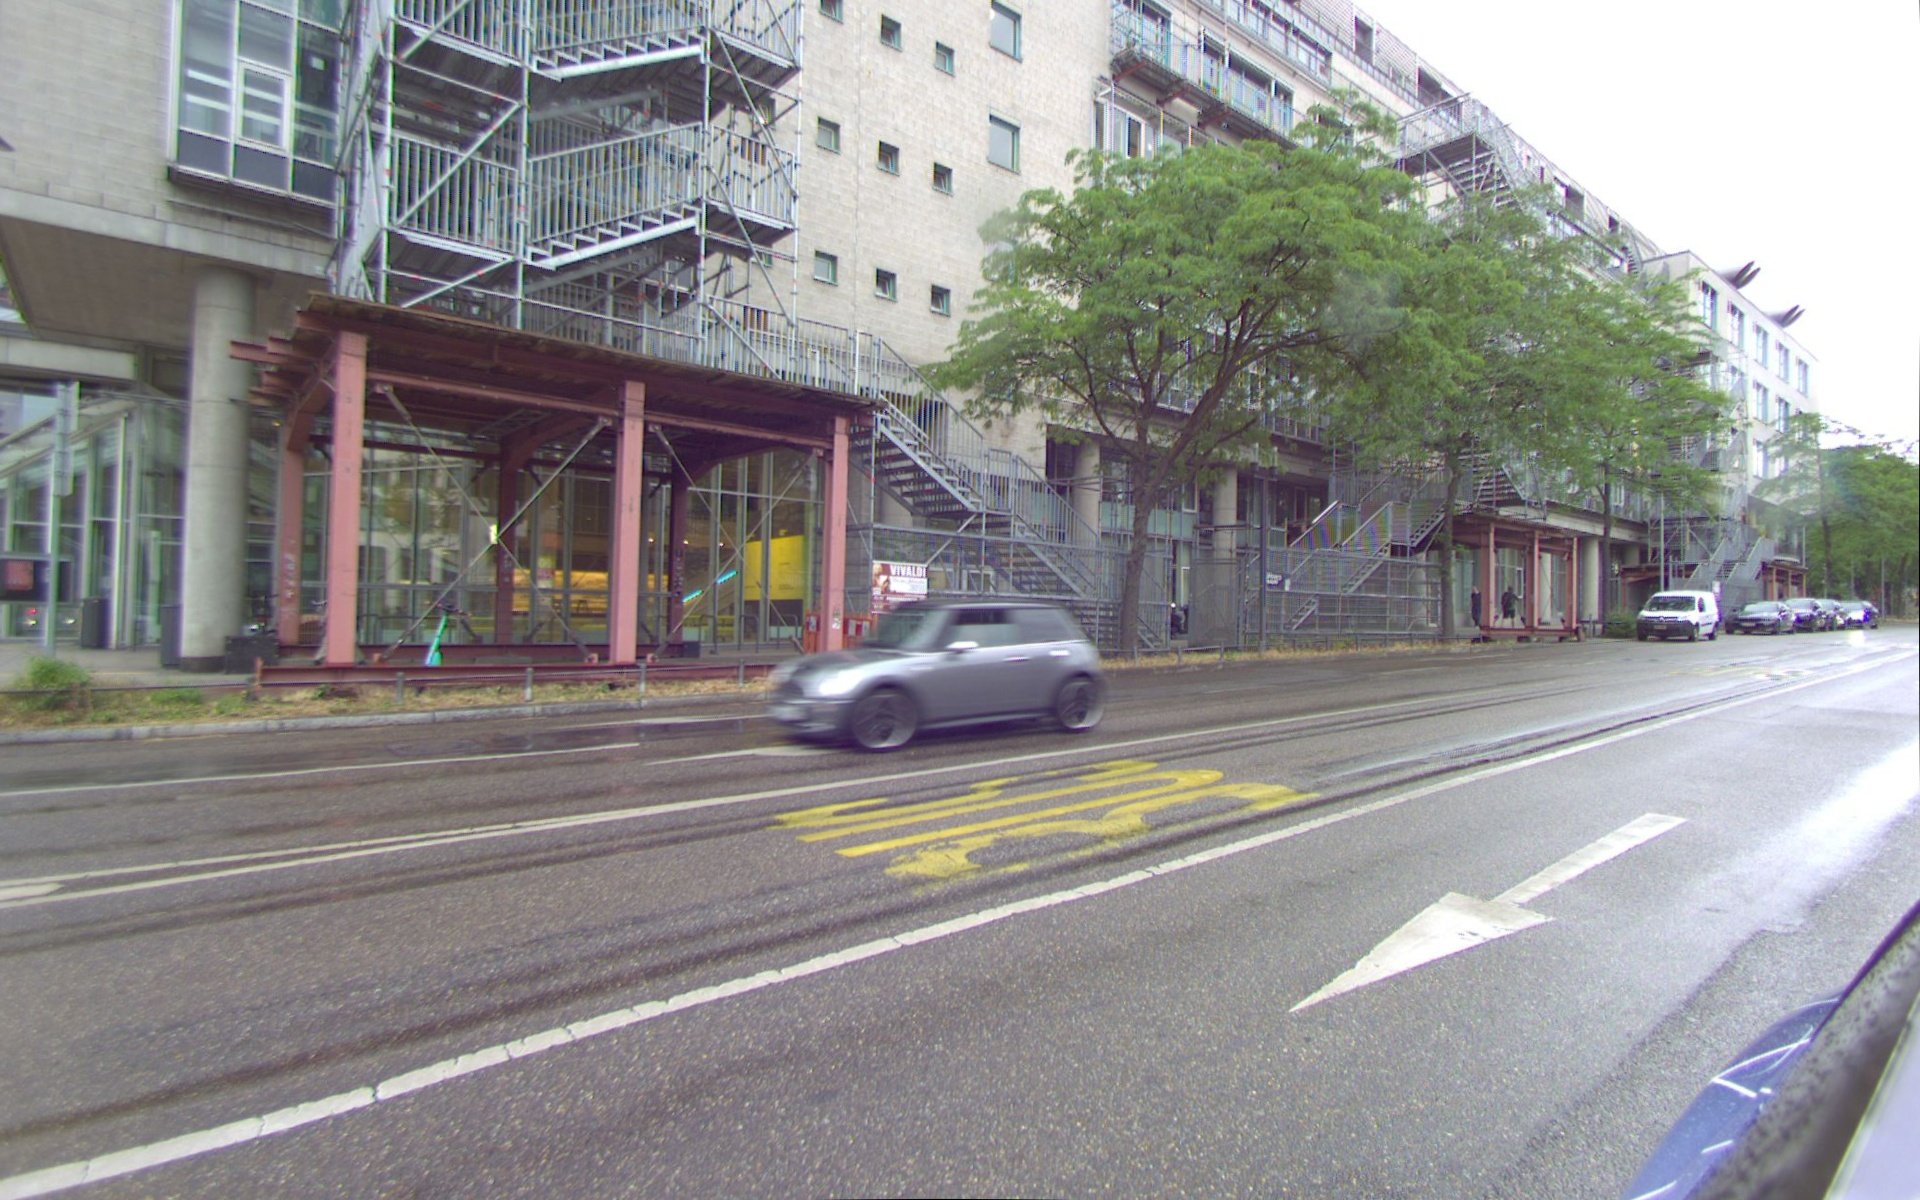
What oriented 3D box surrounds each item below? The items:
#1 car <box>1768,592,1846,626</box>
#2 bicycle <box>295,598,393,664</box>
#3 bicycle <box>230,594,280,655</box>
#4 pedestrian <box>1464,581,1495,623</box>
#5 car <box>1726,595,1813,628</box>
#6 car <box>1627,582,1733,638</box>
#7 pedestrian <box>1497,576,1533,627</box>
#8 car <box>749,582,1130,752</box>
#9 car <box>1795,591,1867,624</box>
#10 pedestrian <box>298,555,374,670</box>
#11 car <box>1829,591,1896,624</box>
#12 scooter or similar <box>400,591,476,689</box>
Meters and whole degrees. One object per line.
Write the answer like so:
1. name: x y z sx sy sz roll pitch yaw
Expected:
1. car: 40.251 0.398 48.069 4.733 1.513 2.145 -1 1 -41
2. bicycle: -11.984 0.572 19.740 0.580 1.209 1.602 0 0 24
3. bicycle: -14.418 0.481 20.681 0.577 1.209 1.611 0 0 -44
4. pedestrian: 22.848 0.091 44.499 0.832 1.822 1.008 0 0 -44
5. car: 35.095 0.455 43.819 4.733 1.353 2.145 -1 1 -41
6. car: 26.069 0.313 36.590 4.254 1.930 2.211 -1 0 -41
7. pedestrian: 22.587 0.050 41.188 1.021 2.039 1.009 0 0 -41
8. car: -0.150 0.596 10.595 3.651 1.474 1.744 0 -1 -36
9. car: 44.362 0.370 51.530 4.733 1.580 2.145 -1 1 -41
10. pedestrian: -10.097 0.197 16.390 0.774 1.798 0.783 0 0 31
11. car: 48.936 0.359 54.855 4.733 1.667 2.145 -1 0 -41
12. scooter or similar: -6.936 0.487 13.416 0.576 1.209 1.782 1 0 -38
